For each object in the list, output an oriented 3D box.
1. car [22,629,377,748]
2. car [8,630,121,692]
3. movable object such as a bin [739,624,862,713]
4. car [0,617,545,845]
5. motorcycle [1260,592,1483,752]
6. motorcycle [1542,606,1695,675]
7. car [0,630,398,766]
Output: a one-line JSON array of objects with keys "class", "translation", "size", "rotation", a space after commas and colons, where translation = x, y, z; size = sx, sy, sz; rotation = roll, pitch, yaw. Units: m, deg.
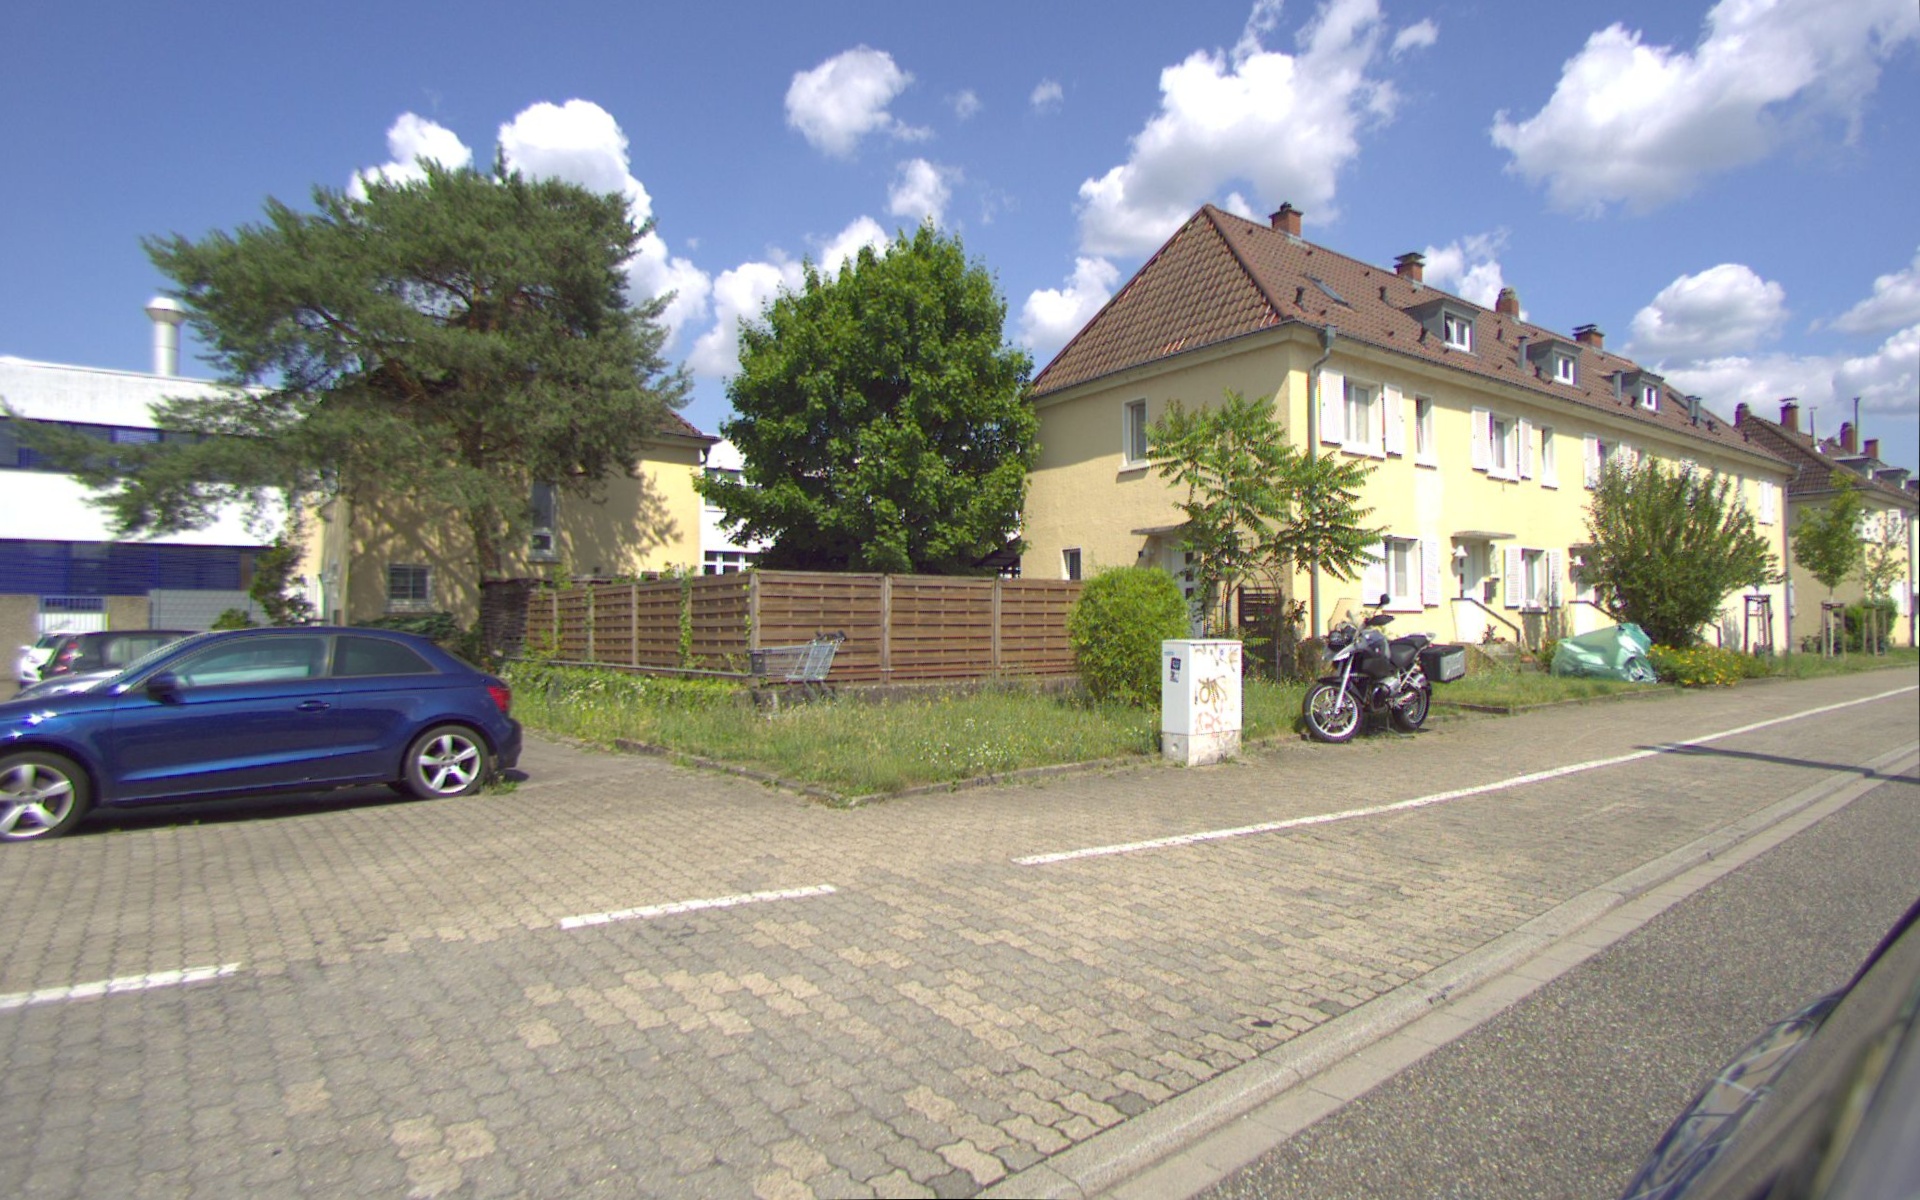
[{"class": "car", "translation": [-10.735, 1.155, 14.471], "size": [3.869, 1.430, 1.540], "rotation": [2, -1, -45]}, {"class": "car", "translation": [-22.911, 1.532, 26.034], "size": [1.701, 1.406, 4.294], "rotation": [4, -4, -36]}, {"class": "movable object such as a bin", "translation": [-1.818, 0.753, 11.561], "size": [1.263, 0.948, 0.572], "rotation": [0, -2, -34]}, {"class": "car", "translation": [-5.533, 0.870, 7.570], "size": [4.207, 1.399, 1.644], "rotation": [2, -4, -37]}, {"class": "motorcycle", "translation": [4.409, 0.681, 10.743], "size": [2.537, 1.488, 1.050], "rotation": [0, 1, -38]}, {"class": "motorcycle", "translation": [12.267, 0.732, 18.936], "size": [0.838, 1.213, 2.234], "rotation": [0, -2, -35]}, {"class": "car", "translation": [-9.226, 1.077, 12.365], "size": [3.866, 1.416, 1.561], "rotation": [2, -3, -43]}]
